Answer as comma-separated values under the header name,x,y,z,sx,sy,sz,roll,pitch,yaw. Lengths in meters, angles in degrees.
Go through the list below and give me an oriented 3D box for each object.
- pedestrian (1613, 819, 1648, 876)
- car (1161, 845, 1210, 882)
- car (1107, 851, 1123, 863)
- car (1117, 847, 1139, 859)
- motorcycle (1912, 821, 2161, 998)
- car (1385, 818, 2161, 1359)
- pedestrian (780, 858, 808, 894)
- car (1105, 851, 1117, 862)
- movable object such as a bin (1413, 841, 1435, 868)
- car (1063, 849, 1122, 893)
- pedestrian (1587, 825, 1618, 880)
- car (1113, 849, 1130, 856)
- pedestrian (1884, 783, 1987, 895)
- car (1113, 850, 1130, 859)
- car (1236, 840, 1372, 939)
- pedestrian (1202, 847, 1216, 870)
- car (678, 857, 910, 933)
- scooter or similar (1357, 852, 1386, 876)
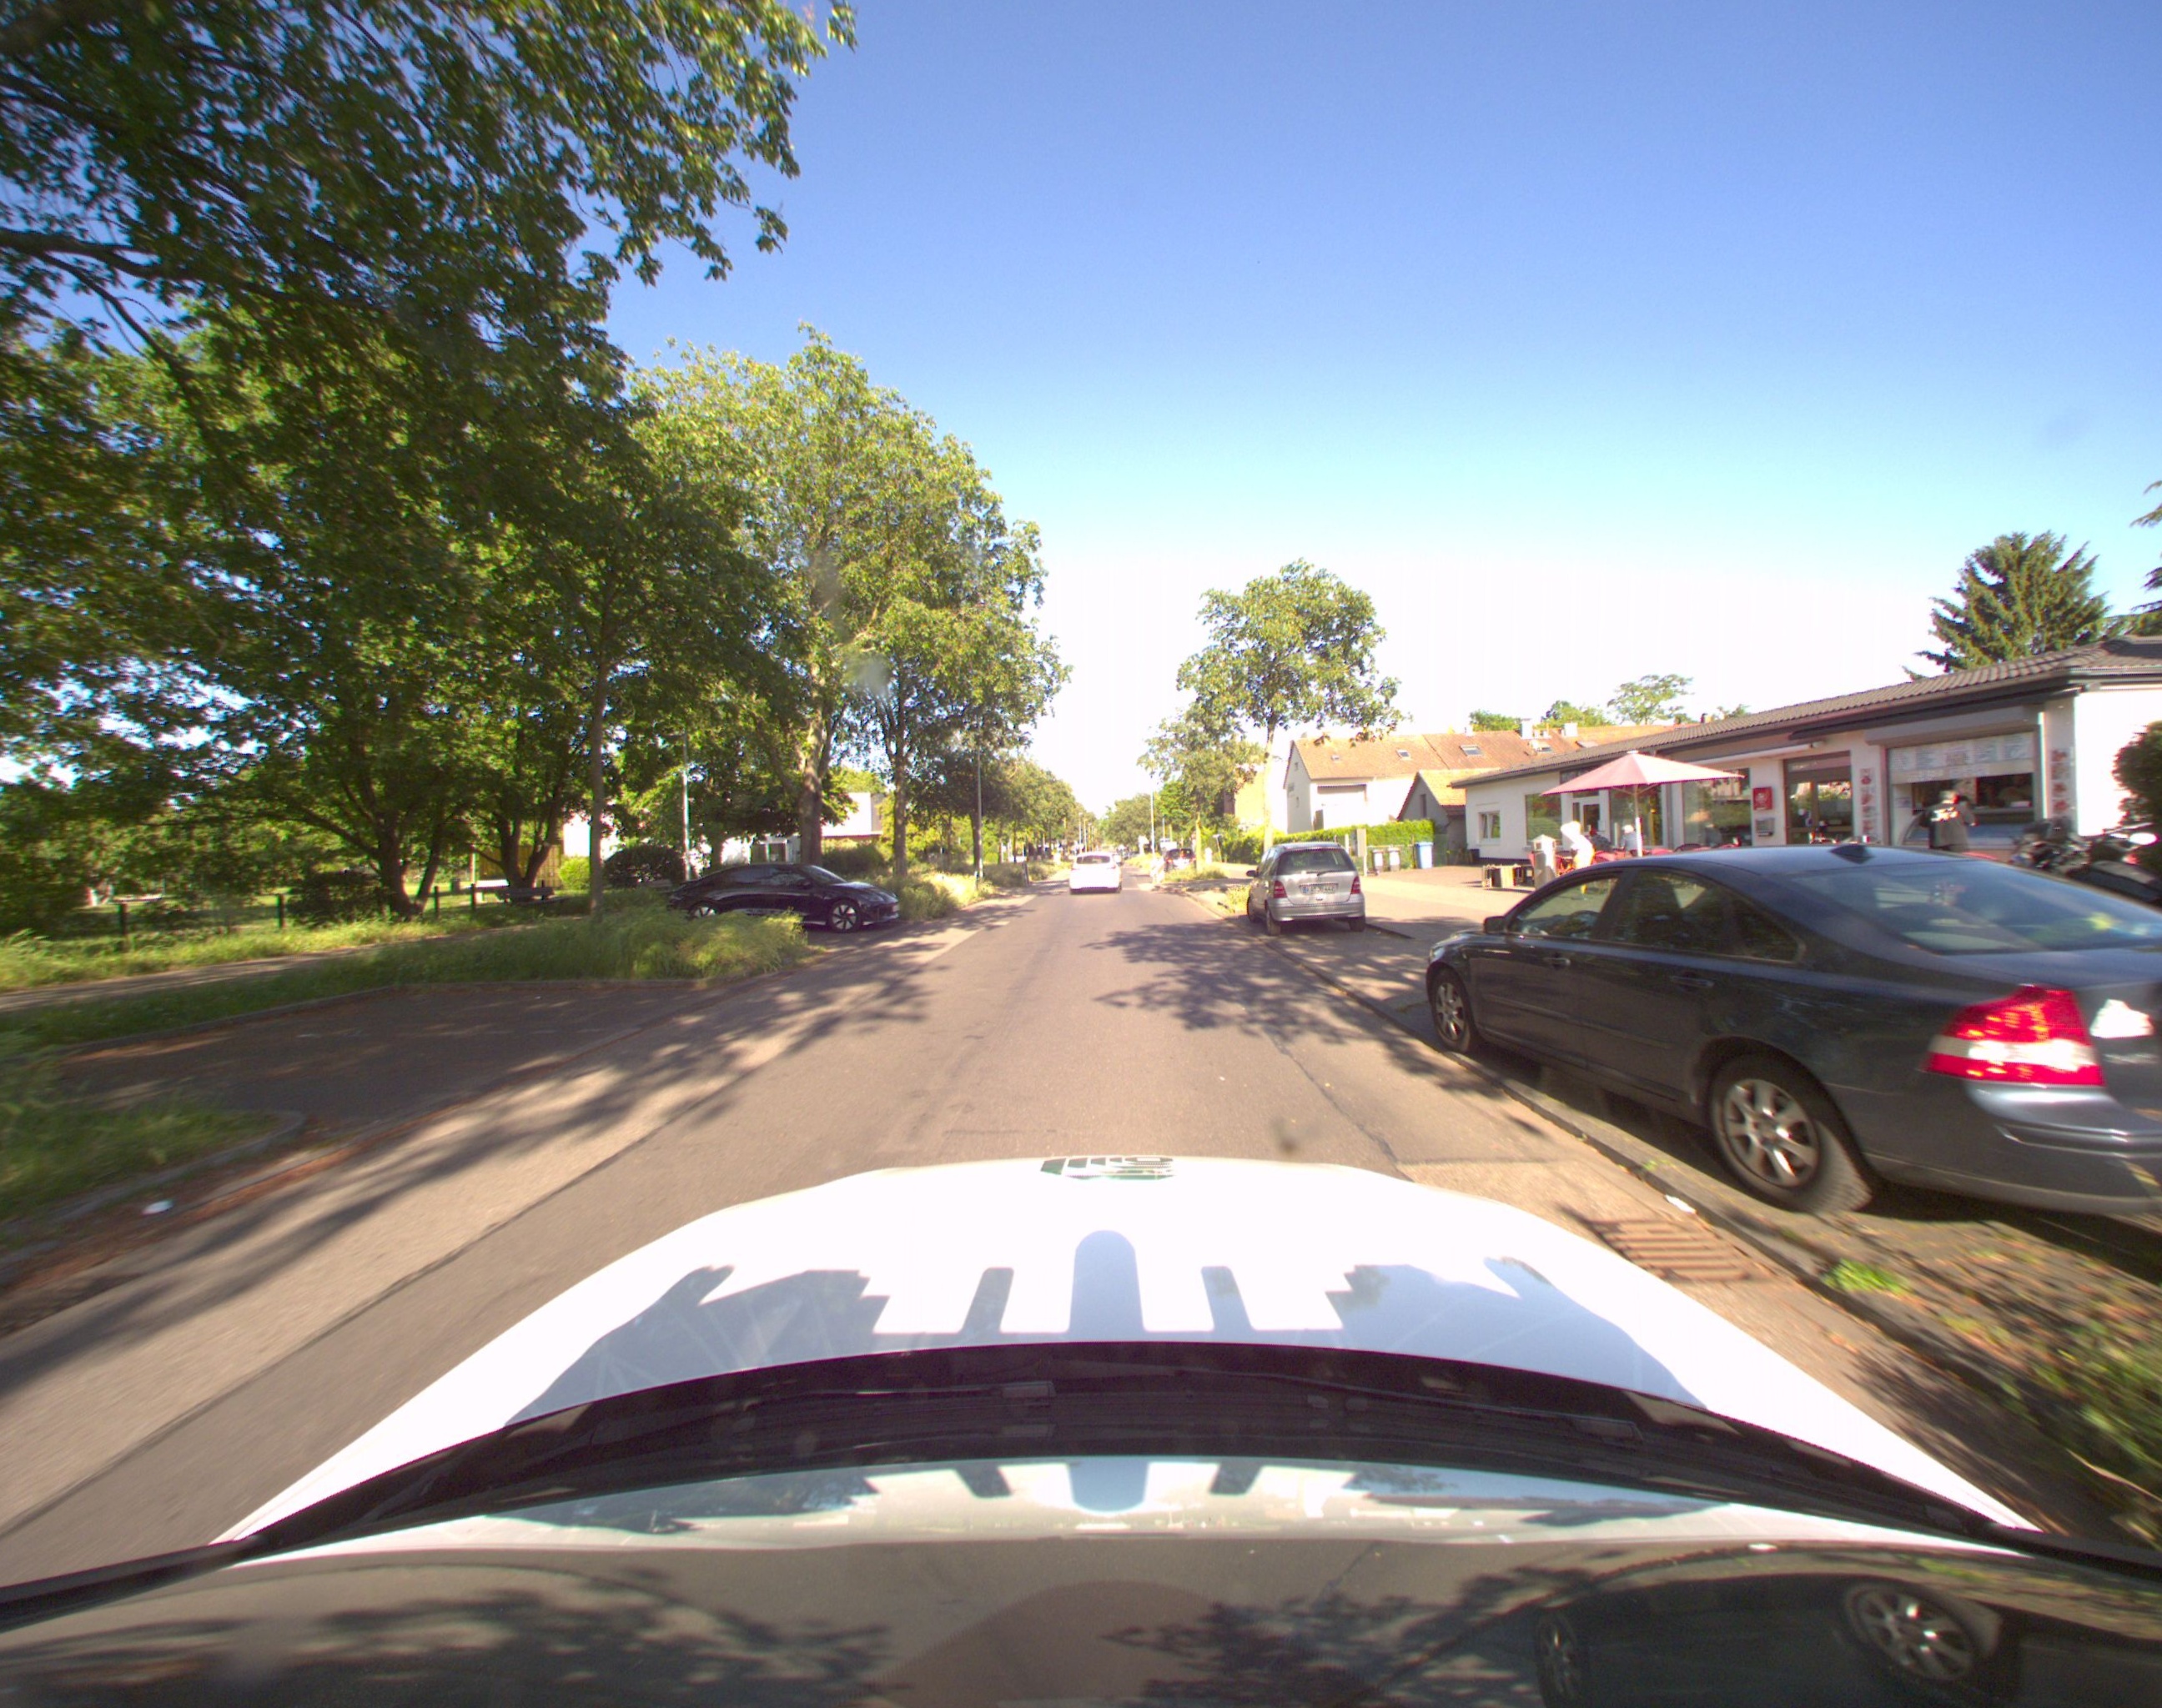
name,x,y,z,sx,sy,sz,roll,pitch,yaw
pedestrian,14.151,-0.168,20.985,0.655,1.409,0.496,-4,-1,30
car,5.423,0.517,42.760,1.987,1.728,3.999,-4,-1,0
car,4.197,0.378,100.617,1.986,1.508,3.660,1,0,2
car,8.653,-0.197,151.063,3.973,2.014,2.000,-1,0,0
motorcycle,8.033,0.380,6.295,0.815,1.227,2.353,-3,0,2
car,3.690,0.720,4.712,1.989,1.622,4.375,1,0,-4
pedestrian,-14.746,1.123,41.914,1.227,1.827,1.543,0,-1,-15
car,4.461,0.388,121.176,1.810,1.508,3.660,1,0,2
movable object such as a bin,13.694,0.027,32.540,0.491,1.031,0.747,-5,0,1
car,0.512,0.591,30.262,1.985,1.455,4.228,-2,0,3
pedestrian,13.349,-0.045,20.864,0.437,1.384,0.640,-1,0,7
car,10.078,-0.410,203.369,3.975,1.750,1.999,-2,0,-1
pedestrian,14.158,-0.251,13.508,0.821,1.778,0.837,-2,0,-10
car,9.677,0.141,193.096,3.973,2.013,2.000,-2,0,0
car,4.132,0.594,15.773,1.604,1.622,4.384,1,0,3
pedestrian,11.398,0.368,72.648,1.108,2.013,0.922,1,0,2
car,-6.105,0.840,17.670,4.352,1.531,1.808,0,0,1
scooter or similar,10.908,0.360,30.617,0.368,0.858,1.406,-2,0,-11
